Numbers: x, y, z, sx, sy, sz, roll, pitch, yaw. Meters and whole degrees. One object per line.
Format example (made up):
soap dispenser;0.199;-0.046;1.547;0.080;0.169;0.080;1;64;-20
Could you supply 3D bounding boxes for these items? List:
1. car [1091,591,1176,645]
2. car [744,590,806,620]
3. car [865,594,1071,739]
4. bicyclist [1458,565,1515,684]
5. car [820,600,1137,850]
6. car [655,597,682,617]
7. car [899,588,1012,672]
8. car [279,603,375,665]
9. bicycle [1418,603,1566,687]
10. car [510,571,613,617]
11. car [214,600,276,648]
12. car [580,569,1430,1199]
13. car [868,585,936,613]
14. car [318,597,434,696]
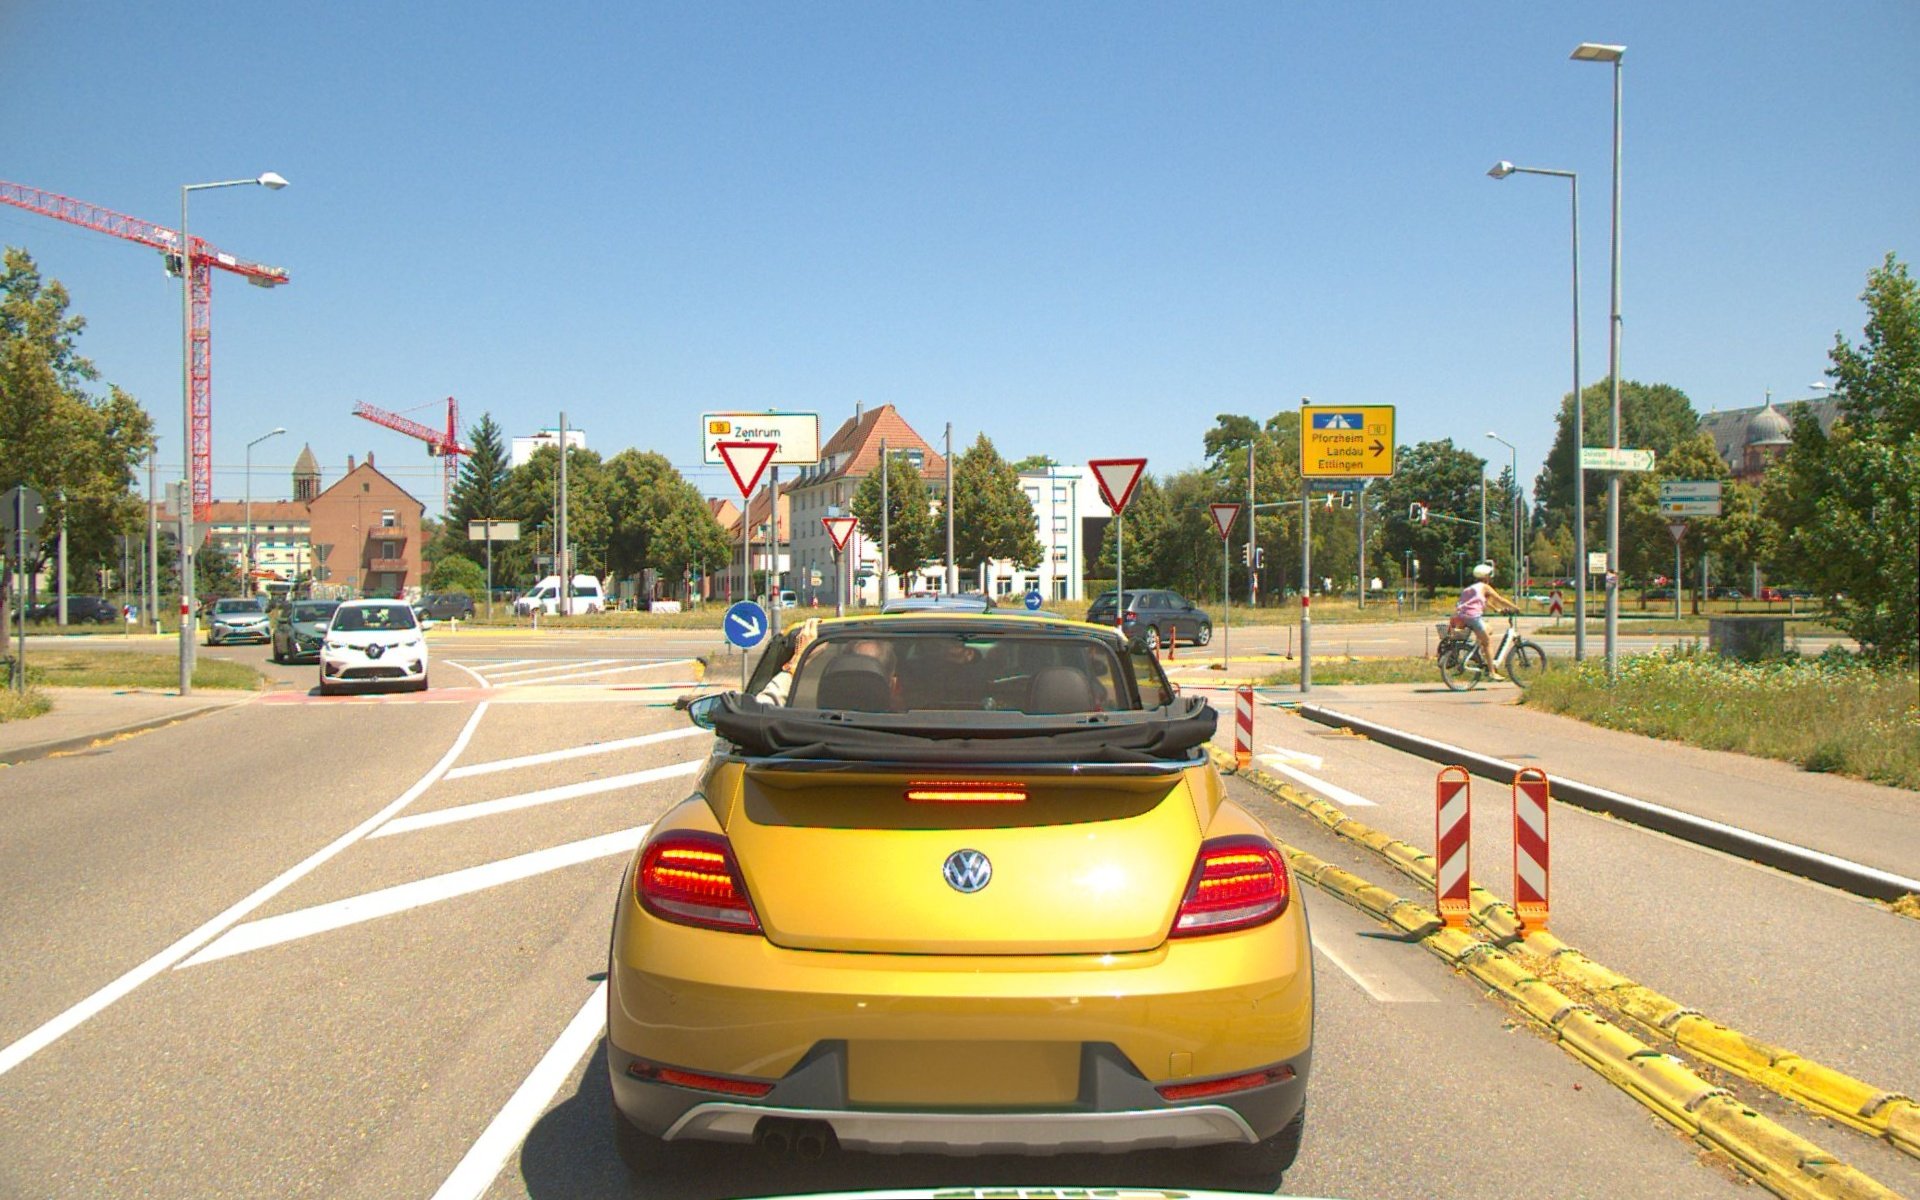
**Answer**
car;4.372;0.444;41.375;1.404;1.281;3.218;1;0;20
car;-13.466;0.333;120.280;1.975;2.107;5.253;1;0;-39
car;0.079;0.670;18.504;2.023;1.406;4.257;1;0;0
bicyclist;8.053;0.364;25.311;0.656;1.783;0.592;-1;1;1
car;0.078;0.721;11.673;1.814;1.389;4.257;-1;0;-1
car;-27.062;0.683;153.403;1.856;1.803;3.977;1;0;-19
car;-0.119;0.525;32.102;2.023;1.506;4.542;-1;0;-1
car;-15.313;0.783;40.181;1.718;1.395;4.313;1;0;-15
bicycle;8.120;0.686;25.300;2.048;1.242;0.634;-1;0;1
car;-21.997;-0.320;91.477;1.960;2.439;5.292;1;-1;43
car;-22.701;0.741;52.458;1.705;1.427;4.237;1;0;-25
car;0.067;0.713;5.528;1.729;1.507;4.257;1;0;-1
car;-3.648;-0.051;104.895;4.243;1.683;1.901;1;0;0
car;-10.074;0.739;28.564;1.749;1.554;3.850;-1;0;-19
